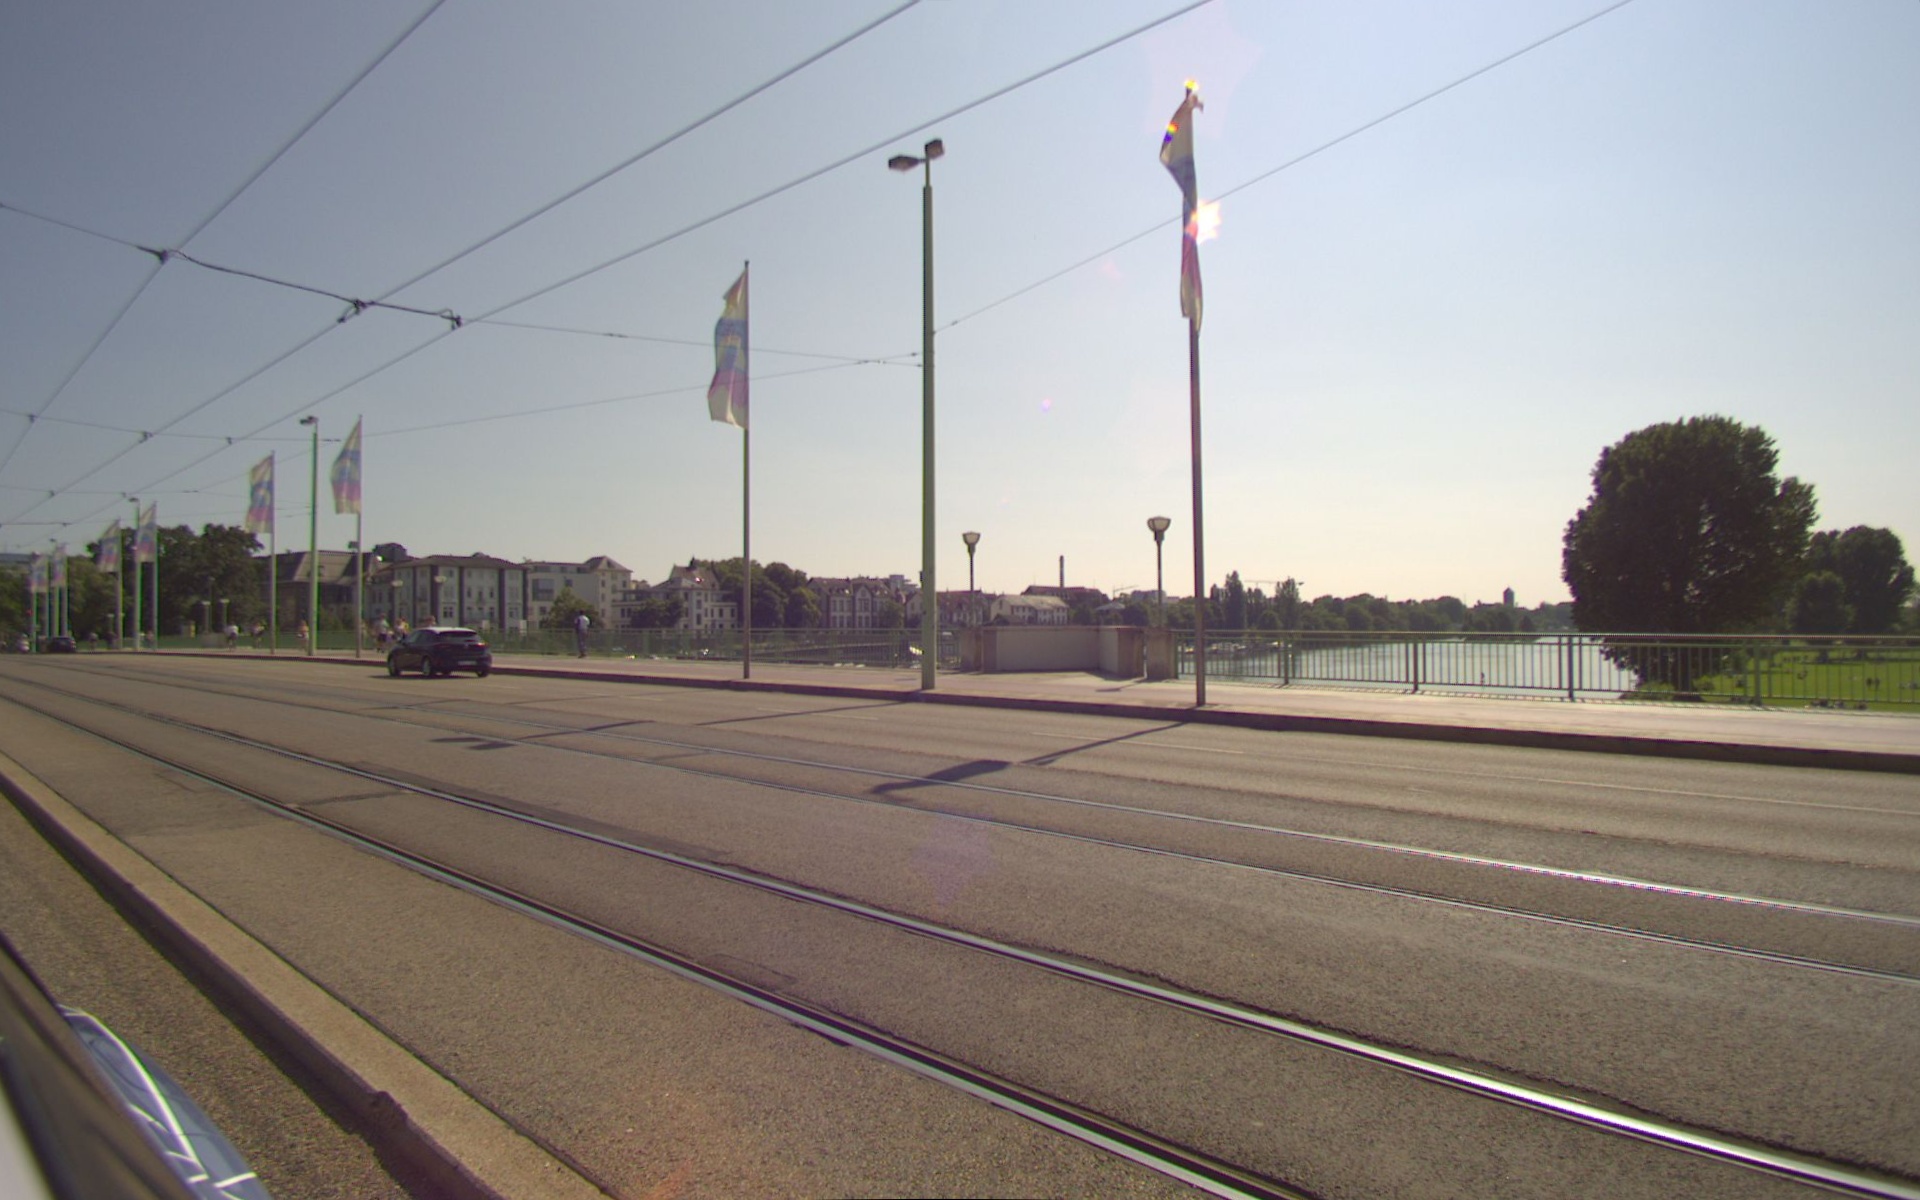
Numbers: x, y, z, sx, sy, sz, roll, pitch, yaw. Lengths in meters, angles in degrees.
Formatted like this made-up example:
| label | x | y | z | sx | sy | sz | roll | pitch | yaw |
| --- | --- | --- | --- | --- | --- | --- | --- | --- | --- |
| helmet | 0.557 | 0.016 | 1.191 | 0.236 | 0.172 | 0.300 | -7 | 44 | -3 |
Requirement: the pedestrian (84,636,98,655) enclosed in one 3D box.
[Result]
| label | x | y | z | sx | sy | sz | roll | pitch | yaw |
| --- | --- | --- | --- | --- | --- | --- | --- | --- | --- |
| pedestrian | -79.038 | 4.144 | 92.007 | 1.022 | 1.712 | 0.777 | -2 | 0 | 41 |

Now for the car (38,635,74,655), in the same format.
| label | x | y | z | sx | sy | sz | roll | pitch | yaw |
| --- | --- | --- | --- | --- | --- | --- | --- | --- | --- |
| car | -69.529 | 3.457 | 77.846 | 3.999 | 1.447 | 1.650 | -1 | -2 | 42 |

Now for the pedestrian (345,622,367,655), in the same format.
| label | x | y | z | sx | sy | sz | roll | pitch | yaw |
| --- | --- | --- | --- | --- | --- | --- | --- | --- | --- |
| pedestrian | -30.212 | 1.940 | 50.633 | 1.022 | 1.611 | 0.619 | -2 | 0 | 41 |

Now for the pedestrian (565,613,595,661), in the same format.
| label | x | y | z | sx | sy | sz | roll | pitch | yaw |
| --- | --- | --- | --- | --- | --- | --- | --- | --- | --- |
| pedestrian | -14.025 | 1.351 | 37.332 | 1.022 | 1.712 | 0.584 | -2 | 0 | 41 |

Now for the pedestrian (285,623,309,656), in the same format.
| label | x | y | z | sx | sy | sz | roll | pitch | yaw |
| --- | --- | --- | --- | --- | --- | --- | --- | --- | --- |
| pedestrian | -35.875 | 2.142 | 54.778 | 1.022 | 1.712 | 0.777 | -2 | 0 | 41 |

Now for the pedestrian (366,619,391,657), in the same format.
| label | x | y | z | sx | sy | sz | roll | pitch | yaw |
| --- | --- | --- | --- | --- | --- | --- | --- | --- | --- |
| pedestrian | -26.903 | 1.767 | 46.788 | 1.022 | 1.712 | 0.663 | -2 | 0 | 41 |

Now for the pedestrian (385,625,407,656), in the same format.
| label | x | y | z | sx | sy | sz | roll | pitch | yaw |
| --- | --- | --- | --- | --- | --- | --- | --- | --- | --- |
| pedestrian | -26.171 | 1.878 | 46.957 | 1.022 | 1.425 | 0.584 | -2 | 0 | 41 |

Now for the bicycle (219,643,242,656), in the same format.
| label | x | y | z | sx | sy | sz | roll | pitch | yaw |
| --- | --- | --- | --- | --- | --- | --- | --- | --- | --- |
| bicycle | -42.567 | 2.866 | 59.059 | 2.172 | 0.721 | 0.658 | -2 | -2 | 42 |

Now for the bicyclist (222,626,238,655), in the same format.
| label | x | y | z | sx | sy | sz | roll | pitch | yaw |
| --- | --- | --- | --- | --- | --- | --- | --- | --- | --- |
| bicyclist | -42.664 | 2.354 | 59.146 | 0.621 | 1.663 | 0.657 | -2 | -2 | 42 |

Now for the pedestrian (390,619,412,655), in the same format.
| label | x | y | z | sx | sy | sz | roll | pitch | yaw |
| --- | --- | --- | --- | --- | --- | --- | --- | --- | --- |
| pedestrian | -27.212 | 1.805 | 49.289 | 1.022 | 1.712 | 0.584 | -2 | 0 | 41 |

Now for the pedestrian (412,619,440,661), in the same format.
| label | x | y | z | sx | sy | sz | roll | pitch | yaw |
| --- | --- | --- | --- | --- | --- | --- | --- | --- | --- |
| pedestrian | -22.709 | 1.688 | 43.024 | 1.022 | 1.703 | 0.677 | -2 | 0 | 41 |

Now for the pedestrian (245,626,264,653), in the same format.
| label | x | y | z | sx | sy | sz | roll | pitch | yaw |
| --- | --- | --- | --- | --- | --- | --- | --- | --- | --- |
| pedestrian | -45.485 | 2.552 | 65.236 | 1.022 | 1.712 | 0.777 | -2 | 0 | 41 |

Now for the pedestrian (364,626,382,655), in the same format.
| label | x | y | z | sx | sy | sz | roll | pitch | yaw |
| --- | --- | --- | --- | --- | --- | --- | --- | --- | --- |
| pedestrian | -29.735 | 2.054 | 51.258 | 0.788 | 1.448 | 0.540 | -2 | 0 | 41 |

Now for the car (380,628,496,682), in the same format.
| label | x | y | z | sx | sy | sz | roll | pitch | yaw |
| --- | --- | --- | --- | --- | --- | --- | --- | --- | --- |
| car | -15.216 | 1.555 | 29.436 | 3.900 | 1.466 | 1.698 | -2 | -3 | 41 |
